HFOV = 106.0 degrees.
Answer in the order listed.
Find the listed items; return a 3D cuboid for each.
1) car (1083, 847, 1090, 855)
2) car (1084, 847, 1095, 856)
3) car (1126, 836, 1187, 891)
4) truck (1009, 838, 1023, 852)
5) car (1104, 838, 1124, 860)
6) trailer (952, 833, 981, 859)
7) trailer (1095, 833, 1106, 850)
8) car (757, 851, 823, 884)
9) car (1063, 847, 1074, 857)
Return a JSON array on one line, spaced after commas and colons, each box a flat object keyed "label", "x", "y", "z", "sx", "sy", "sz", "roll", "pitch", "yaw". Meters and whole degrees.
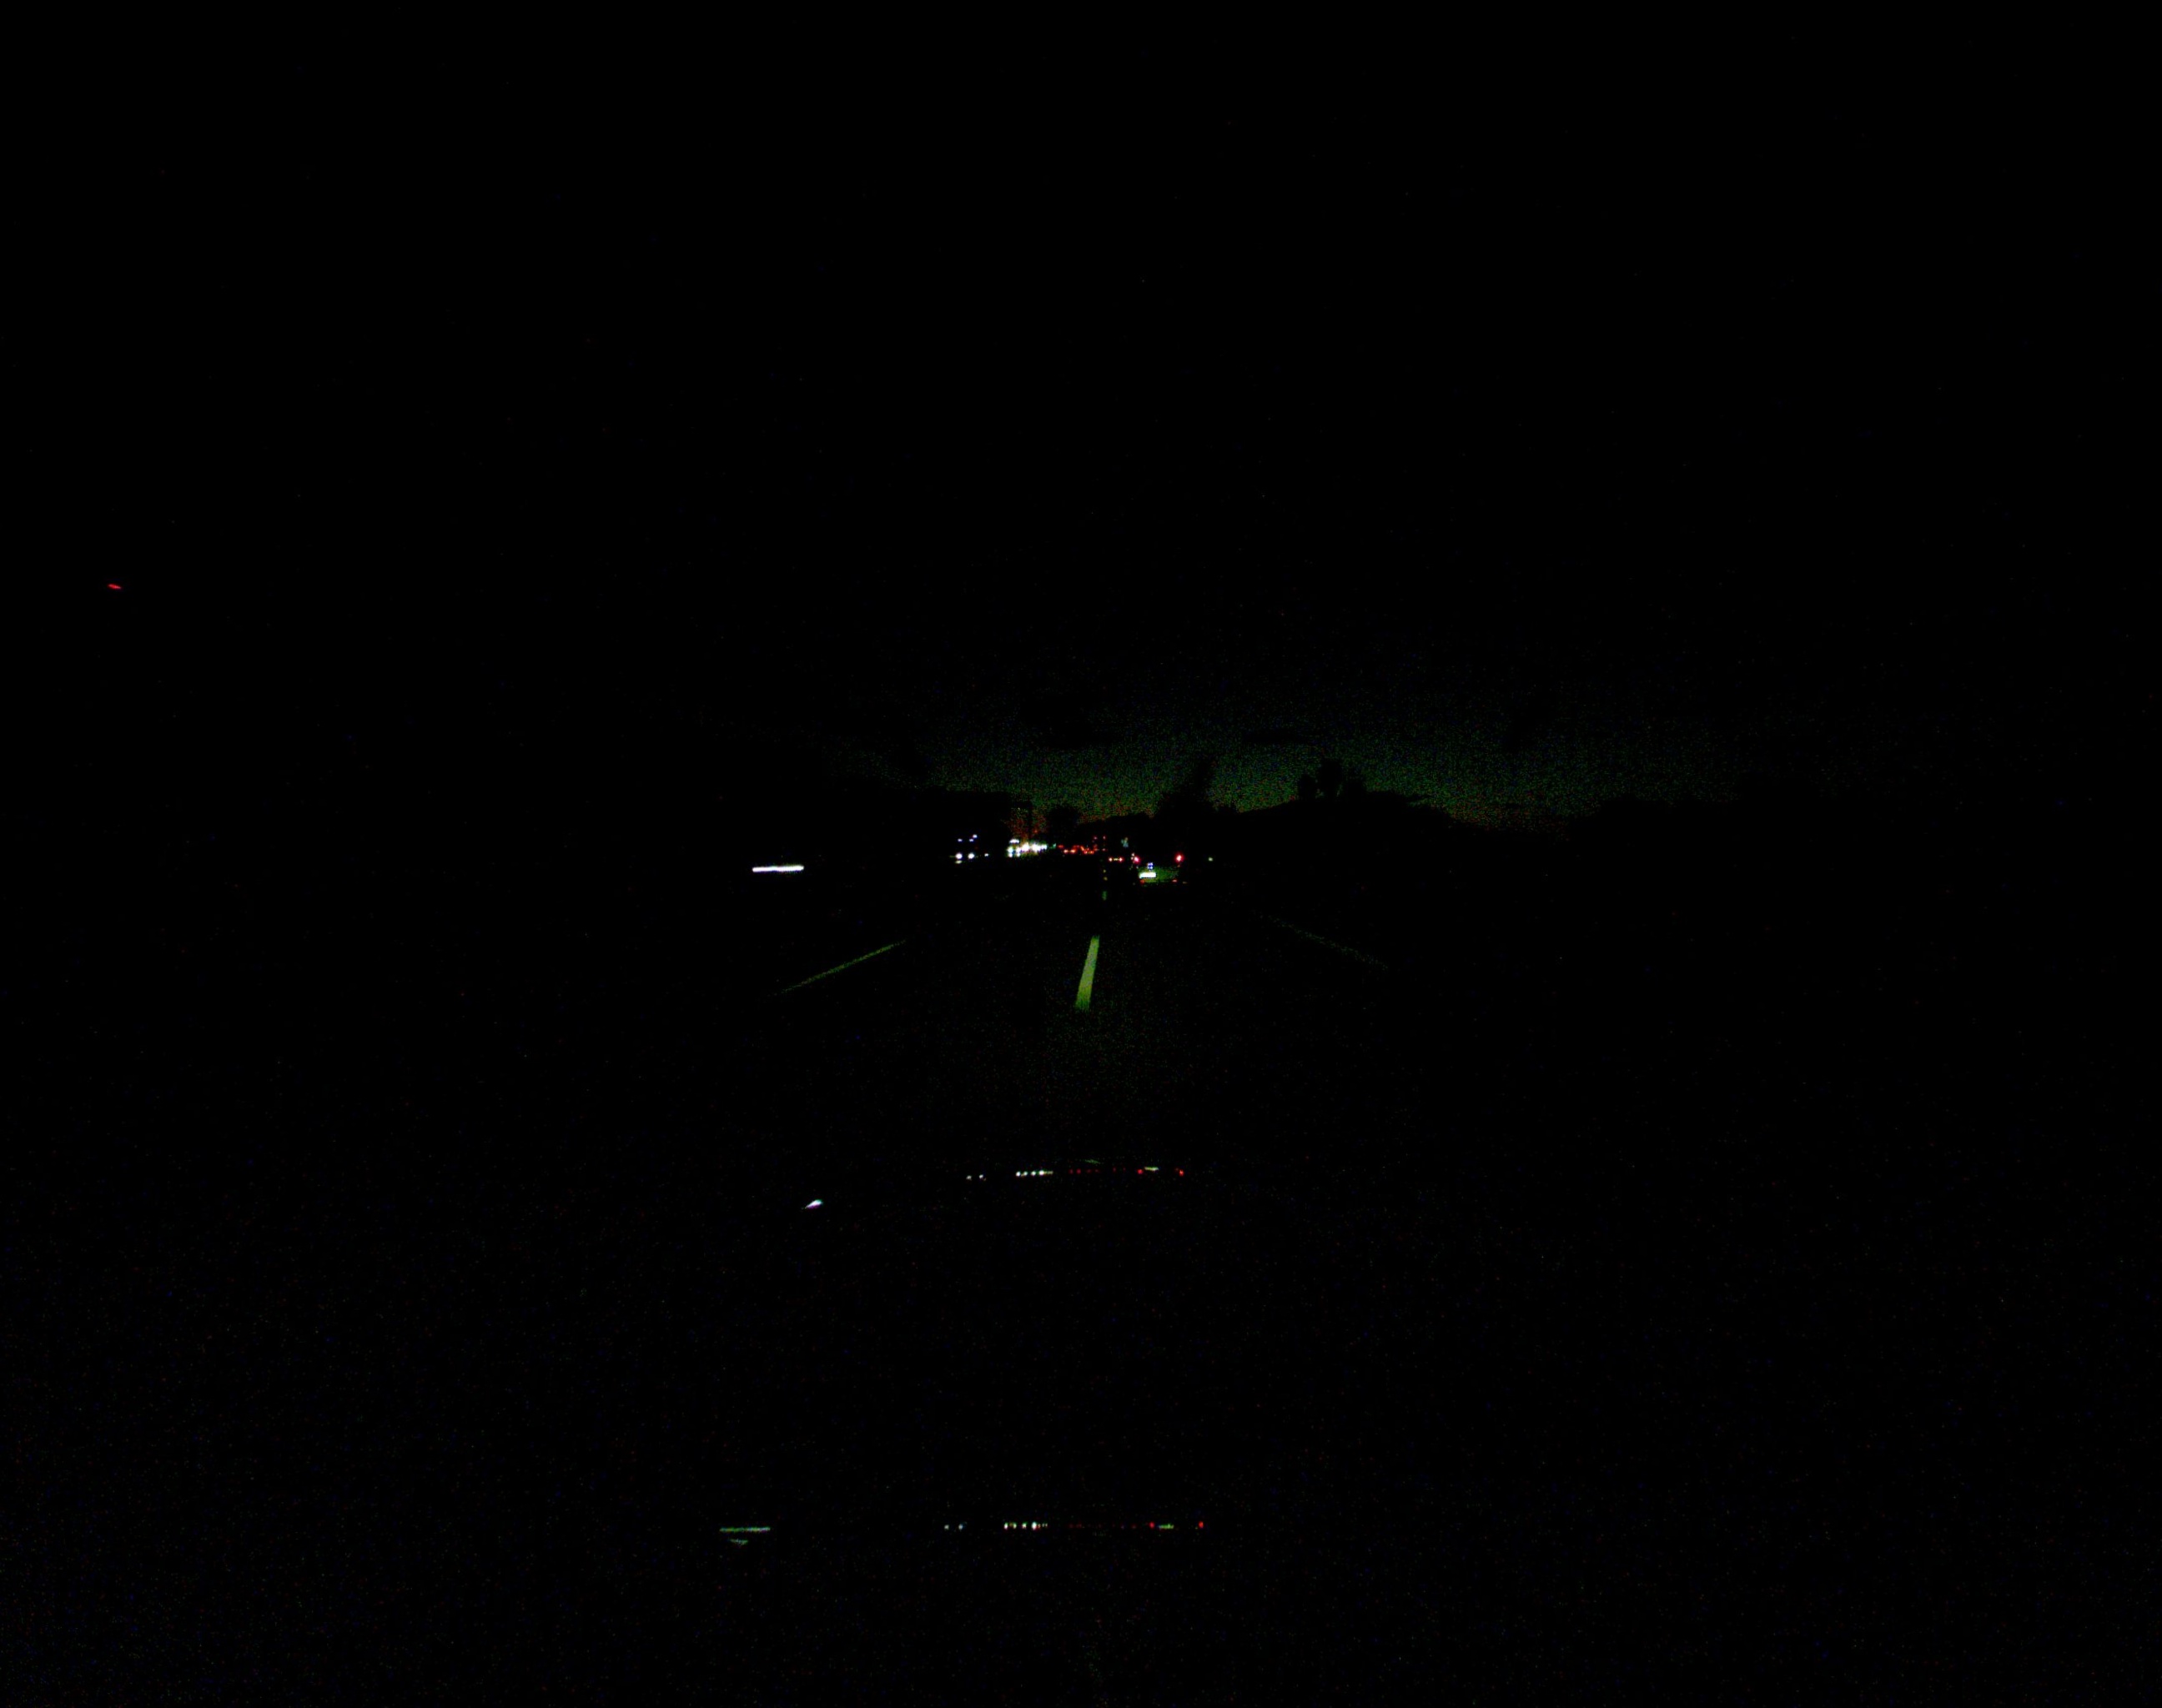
[{"label": "car", "x": 1.416, "y": -0.751, "z": 211.250, "sx": 1.987, "sy": 1.794, "sz": 4.000, "roll": -1, "pitch": -1, "yaw": 0}, {"label": "car", "x": 1.647, "y": -0.474, "z": 164.360, "sx": 1.989, "sy": 1.794, "sz": 3.995, "roll": -1, "pitch": -1, "yaw": -3}, {"label": "car", "x": 2.991, "y": 0.331, "z": 33.251, "sx": 2.107, "sy": 2.001, "sz": 5.666, "roll": -1, "pitch": 0, "yaw": 2}, {"label": "truck", "x": -17.880, "y": -2.474, "z": 223.758, "sx": 3.419, "sy": 3.980, "sz": 6.206, "roll": -1, "pitch": 0, "yaw": 0}, {"label": "car", "x": 4.130, "y": -0.585, "z": 102.784, "sx": 2.027, "sy": 2.646, "sz": 5.721, "roll": -1, "pitch": 0, "yaw": -2}, {"label": "trailer", "x": -18.465, "y": -1.303, "z": 132.061, "sx": 3.418, "sy": 3.980, "sz": 7.354, "roll": -1, "pitch": 0, "yaw": 1}, {"label": "trailer", "x": 5.431, "y": -3.386, "z": 226.478, "sx": 2.820, "sy": 4.257, "sz": 17.048, "roll": -1, "pitch": -1, "yaw": 1}, {"label": "car", "x": -15.852, "y": 0.730, "z": 44.610, "sx": 1.815, "sy": 1.694, "sz": 4.675, "roll": -1, "pitch": -1, "yaw": 2}, {"label": "car", "x": -2.414, "y": -0.440, "z": 158.907, "sx": 1.988, "sy": 1.816, "sz": 3.998, "roll": -1, "pitch": -1, "yaw": -1}]
